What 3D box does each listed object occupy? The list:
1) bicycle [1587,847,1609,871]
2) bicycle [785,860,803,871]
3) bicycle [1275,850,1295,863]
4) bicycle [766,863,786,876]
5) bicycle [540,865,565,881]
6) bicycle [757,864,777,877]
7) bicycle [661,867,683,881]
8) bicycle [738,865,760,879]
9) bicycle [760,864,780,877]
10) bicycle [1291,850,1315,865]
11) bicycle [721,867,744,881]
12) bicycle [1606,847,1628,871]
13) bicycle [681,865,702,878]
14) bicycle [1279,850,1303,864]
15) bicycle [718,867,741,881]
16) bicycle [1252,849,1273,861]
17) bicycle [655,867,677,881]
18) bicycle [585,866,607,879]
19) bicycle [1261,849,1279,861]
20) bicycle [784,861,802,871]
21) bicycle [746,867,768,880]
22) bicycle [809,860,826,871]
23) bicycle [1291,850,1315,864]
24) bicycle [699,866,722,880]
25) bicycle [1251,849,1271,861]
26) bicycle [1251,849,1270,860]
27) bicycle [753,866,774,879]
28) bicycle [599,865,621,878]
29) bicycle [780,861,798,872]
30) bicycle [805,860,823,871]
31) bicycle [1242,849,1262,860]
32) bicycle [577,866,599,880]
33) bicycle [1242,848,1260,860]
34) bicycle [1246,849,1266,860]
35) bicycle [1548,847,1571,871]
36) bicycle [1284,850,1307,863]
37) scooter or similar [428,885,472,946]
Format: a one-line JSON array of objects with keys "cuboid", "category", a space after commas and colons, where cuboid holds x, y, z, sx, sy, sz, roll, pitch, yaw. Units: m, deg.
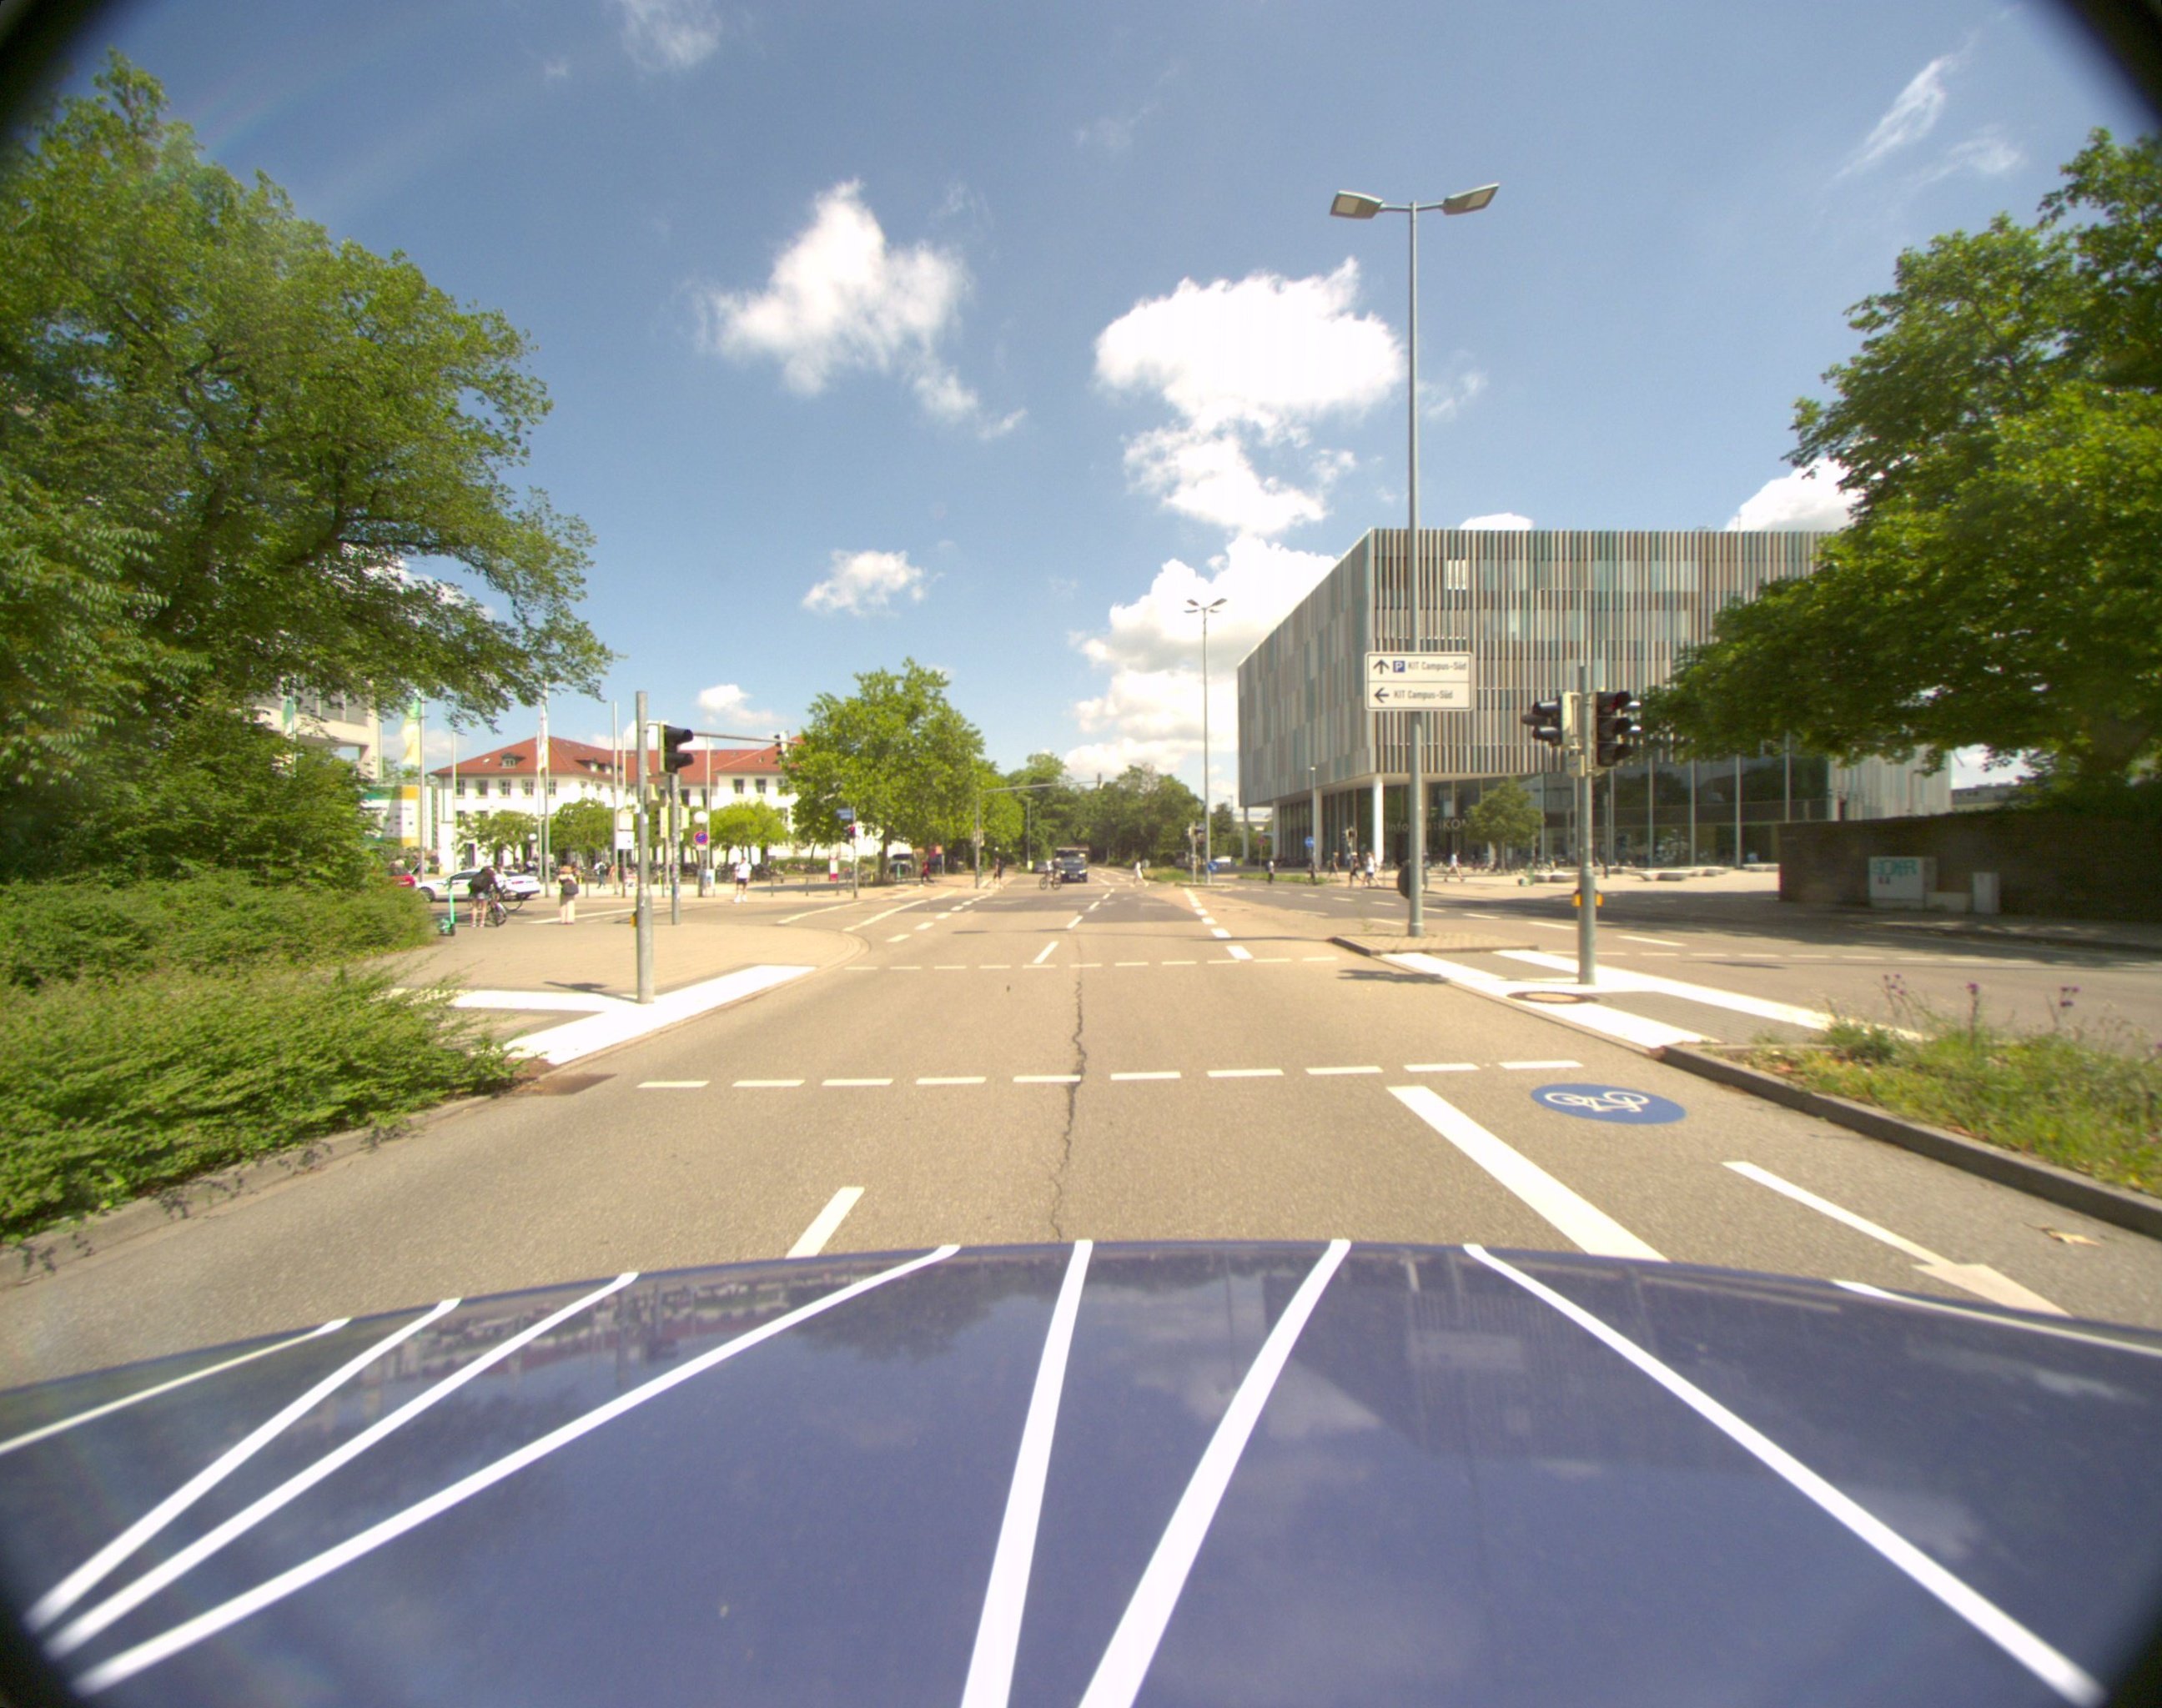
[{"cuboid": [34.649, 0.287, 50.888, 0.997, 1.543, 3.422, 0, 1, 38], "category": "bicycle"}, {"cuboid": [-25.865, 1.067, 68.523, 1.428, 0.945, 0.352, -1, 1, -5], "category": "bicycle"}, {"cuboid": [23.766, 0.266, 88.415, 2.200, 1.486, 0.621, -1, 1, 1], "category": "bicycle"}, {"cuboid": [-23.656, 1.199, 59.015, 1.371, 0.945, 0.352, -1, 1, -5], "category": "bicycle"}, {"cuboid": [-36.570, 1.301, 52.548, 1.372, 1.068, 0.352, -1, 1, -11], "category": "bicycle"}, {"cuboid": [-23.638, 1.263, 57.207, 1.371, 0.945, 0.352, -1, 1, -5], "category": "bicycle"}, {"cuboid": [-28.644, 1.376, 53.252, 1.370, 0.945, 0.352, -1, 1, 4], "category": "bicycle"}, {"cuboid": [-23.621, 1.286, 54.034, 1.371, 0.945, 0.352, -1, 1, -5], "category": "bicycle"}, {"cuboid": [-23.699, 1.235, 57.856, 1.371, 0.945, 0.352, -1, 1, -5], "category": "bicycle"}, {"cuboid": [23.851, 0.384, 81.632, 2.451, 1.486, 0.621, -1, 1, 1], "category": "bicycle"}, {"cuboid": [-24.088, 1.375, 52.485, 1.371, 0.941, 0.352, -1, 1, -5], "category": "bicycle"}, {"cuboid": [34.751, 0.306, 49.229, 0.997, 1.543, 3.422, 0, 1, 38], "category": "bicycle"}, {"cuboid": [-29.286, 1.310, 57.168, 1.372, 0.945, 0.352, -1, 1, -8], "category": "bicycle"}, {"cuboid": [23.586, 0.322, 85.322, 2.511, 1.486, 0.621, -1, 1, 1], "category": "bicycle"}, {"cuboid": [-23.988, 1.385, 51.917, 1.371, 0.945, 0.352, -1, 1, -5], "category": "bicycle"}, {"cuboid": [23.208, 0.119, 97.320, 2.511, 1.486, 0.621, -1, 1, 1], "category": "bicycle"}, {"cuboid": [-28.831, 1.393, 52.819, 1.370, 0.945, 0.352, -1, 1, 4], "category": "bicycle"}, {"cuboid": [-34.098, 1.295, 53.407, 1.370, 0.945, 0.352, -1, 1, 4], "category": "bicycle"}, {"cuboid": [23.599, 0.157, 94.752, 2.071, 1.486, 0.621, -1, 1, 1], "category": "bicycle"}, {"cuboid": [-25.816, 1.073, 68.111, 1.428, 0.945, 0.352, -1, 1, -5], "category": "bicycle"}, {"cuboid": [-23.311, 1.387, 54.647, 1.371, 0.945, 0.352, -1, 1, -5], "category": "bicycle"}, {"cuboid": [-23.884, 1.030, 68.934, 1.428, 0.945, 0.352, -1, 1, -5], "category": "bicycle"}, {"cuboid": [24.147, 0.360, 82.634, 2.509, 1.486, 0.730, -1, 1, 11], "category": "bicycle"}, {"cuboid": [-25.856, 1.314, 52.984, 1.371, 0.995, 0.352, -1, 1, -5], "category": "bicycle"}, {"cuboid": [23.310, 0.097, 98.431, 2.511, 1.486, 0.621, -1, 1, 1], "category": "bicycle"}, {"cuboid": [23.538, 0.075, 99.498, 2.330, 1.486, 0.621, -1, 1, 1], "category": "bicycle"}, {"cuboid": [-23.150, 1.351, 55.352, 1.371, 0.945, 0.352, -1, 1, -5], "category": "bicycle"}, {"cuboid": [-34.693, 1.286, 55.956, 1.370, 0.945, 0.352, -1, 1, 4], "category": "bicycle"}, {"cuboid": [-25.884, 1.086, 67.444, 1.428, 0.945, 0.352, -1, 1, -5], "category": "bicycle"}, {"cuboid": [-23.819, 1.048, 67.843, 1.428, 0.945, 0.352, -1, 1, -5], "category": "bicycle"}, {"cuboid": [23.034, 0.037, 102.129, 2.511, 1.486, 0.621, -1, 1, 1], "category": "bicycle"}, {"cuboid": [-34.214, 1.312, 52.735, 1.370, 0.945, 0.352, -1, 1, 4], "category": "bicycle"}, {"cuboid": [23.257, -0.001, 104.113, 2.302, 1.486, 0.657, -1, 1, 1], "category": "bicycle"}, {"cuboid": [23.278, 0.050, 101.194, 2.511, 1.486, 0.621, -1, 1, 1], "category": "bicycle"}, {"cuboid": [33.068, 0.335, 52.486, 0.997, 1.543, 3.422, 0, 1, 38], "category": "bicycle"}, {"cuboid": [24.337, 0.296, 86.212, 2.511, 1.486, 0.621, -1, 1, 1], "category": "bicycle"}, {"cuboid": [-13.409, 1.276, 16.152, 1.227, 1.226, 0.438, 0, -1, 37], "category": "scooter or similar"}]
